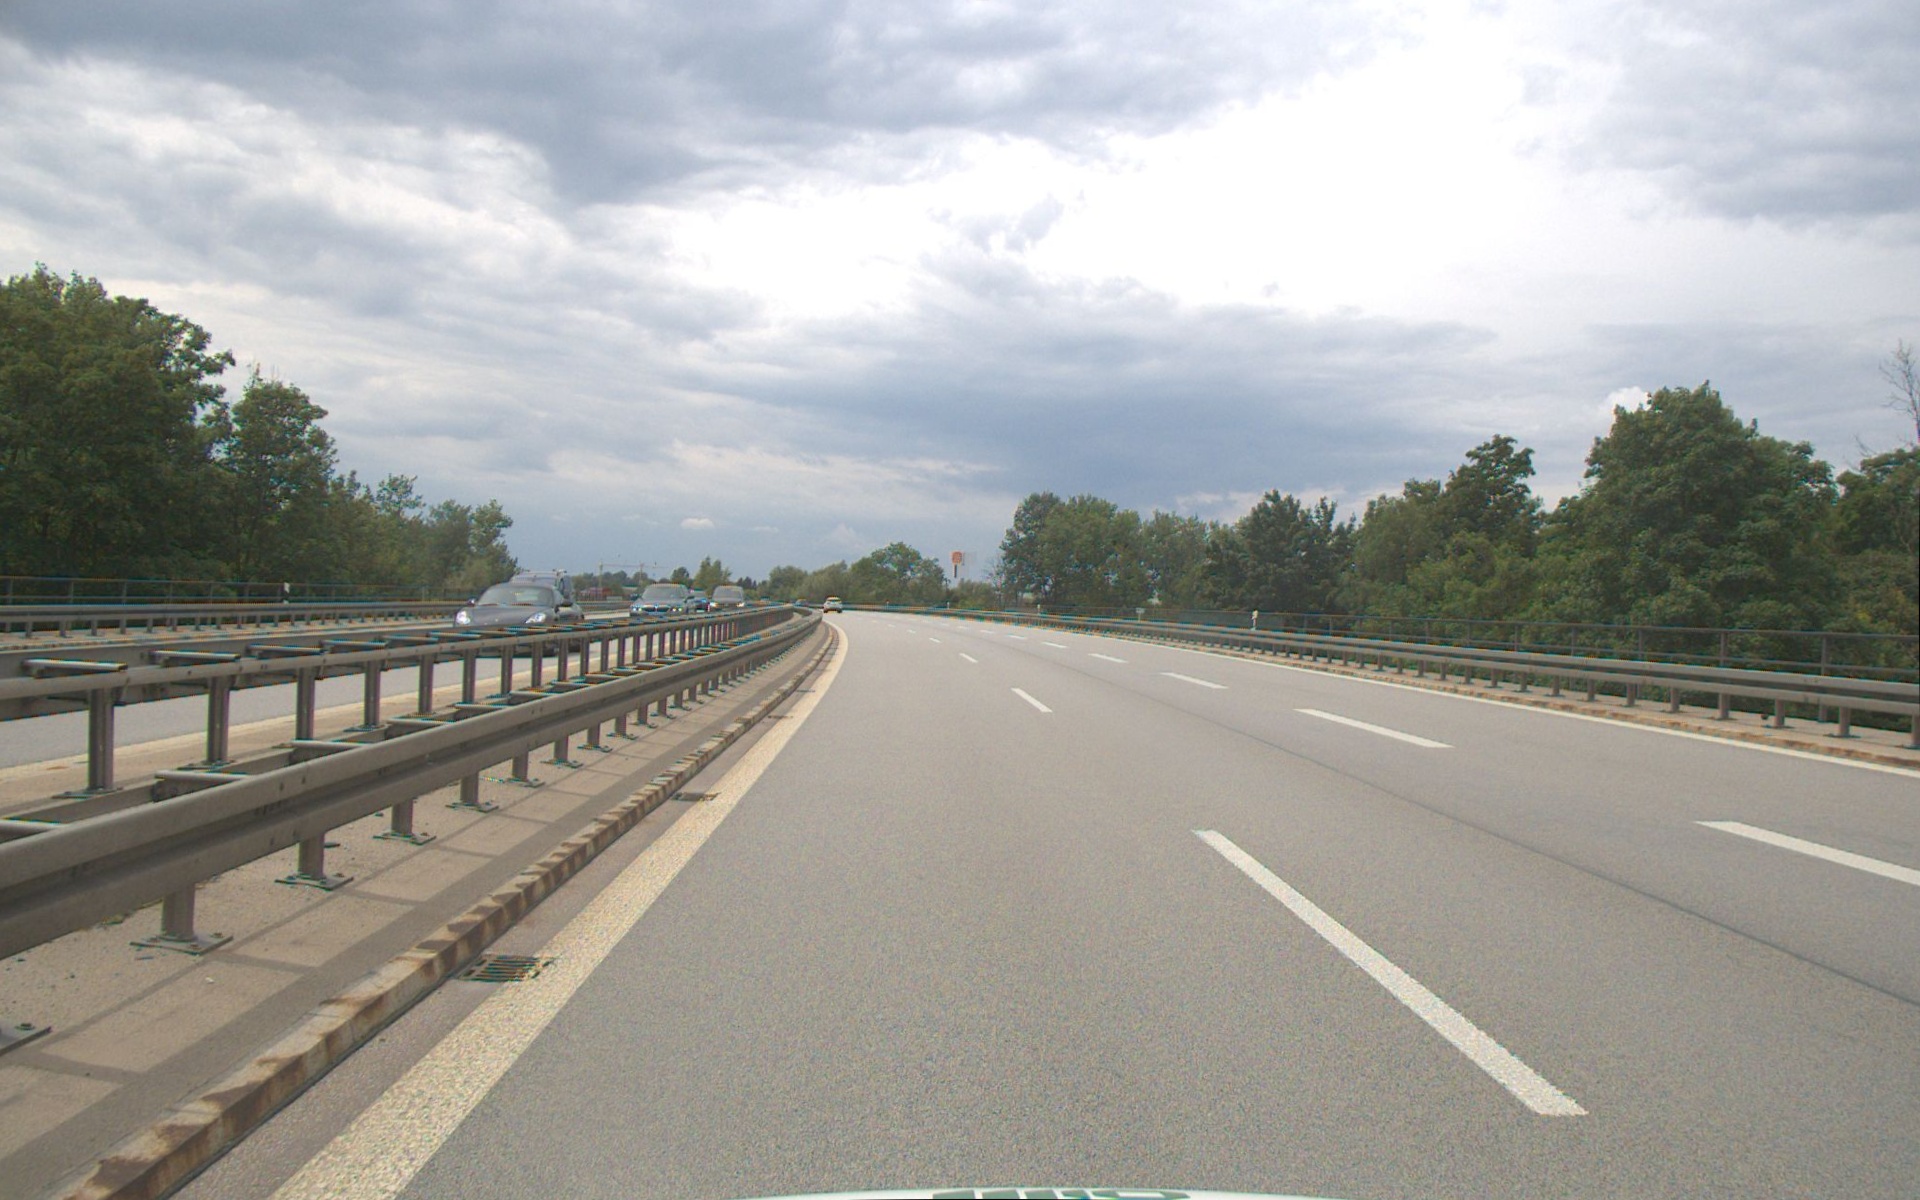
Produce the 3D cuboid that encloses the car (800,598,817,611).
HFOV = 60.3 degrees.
[{"bbox_3d":[-20.709,0.604,225.927,1.858,1.668,4.609,2,-1,-11],"label":"car"}]

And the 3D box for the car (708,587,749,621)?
[{"bbox_3d":[-11.564,0.176,82.814,1.611,1.633,3.998,1,0,-2],"label":"car"}]

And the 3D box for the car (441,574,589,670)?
[{"bbox_3d":[-7.926,0.366,29.784,1.611,1.576,3.999,1,0,-1],"label":"car"}]

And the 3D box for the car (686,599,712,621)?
[{"bbox_3d":[-19.984,0.759,126.753,1.677,1.669,4.563,2,0,-6],"label":"car"}]

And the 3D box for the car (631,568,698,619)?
[{"bbox_3d":[-9.551,-0.187,53.677,1.611,1.576,3.997,1,0,-3],"label":"car"}]

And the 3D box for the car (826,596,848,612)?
[{"bbox_3d":[-13.651,0.461,183.198,1.868,1.669,4.383,2,-1,-11],"label":"car"}]
